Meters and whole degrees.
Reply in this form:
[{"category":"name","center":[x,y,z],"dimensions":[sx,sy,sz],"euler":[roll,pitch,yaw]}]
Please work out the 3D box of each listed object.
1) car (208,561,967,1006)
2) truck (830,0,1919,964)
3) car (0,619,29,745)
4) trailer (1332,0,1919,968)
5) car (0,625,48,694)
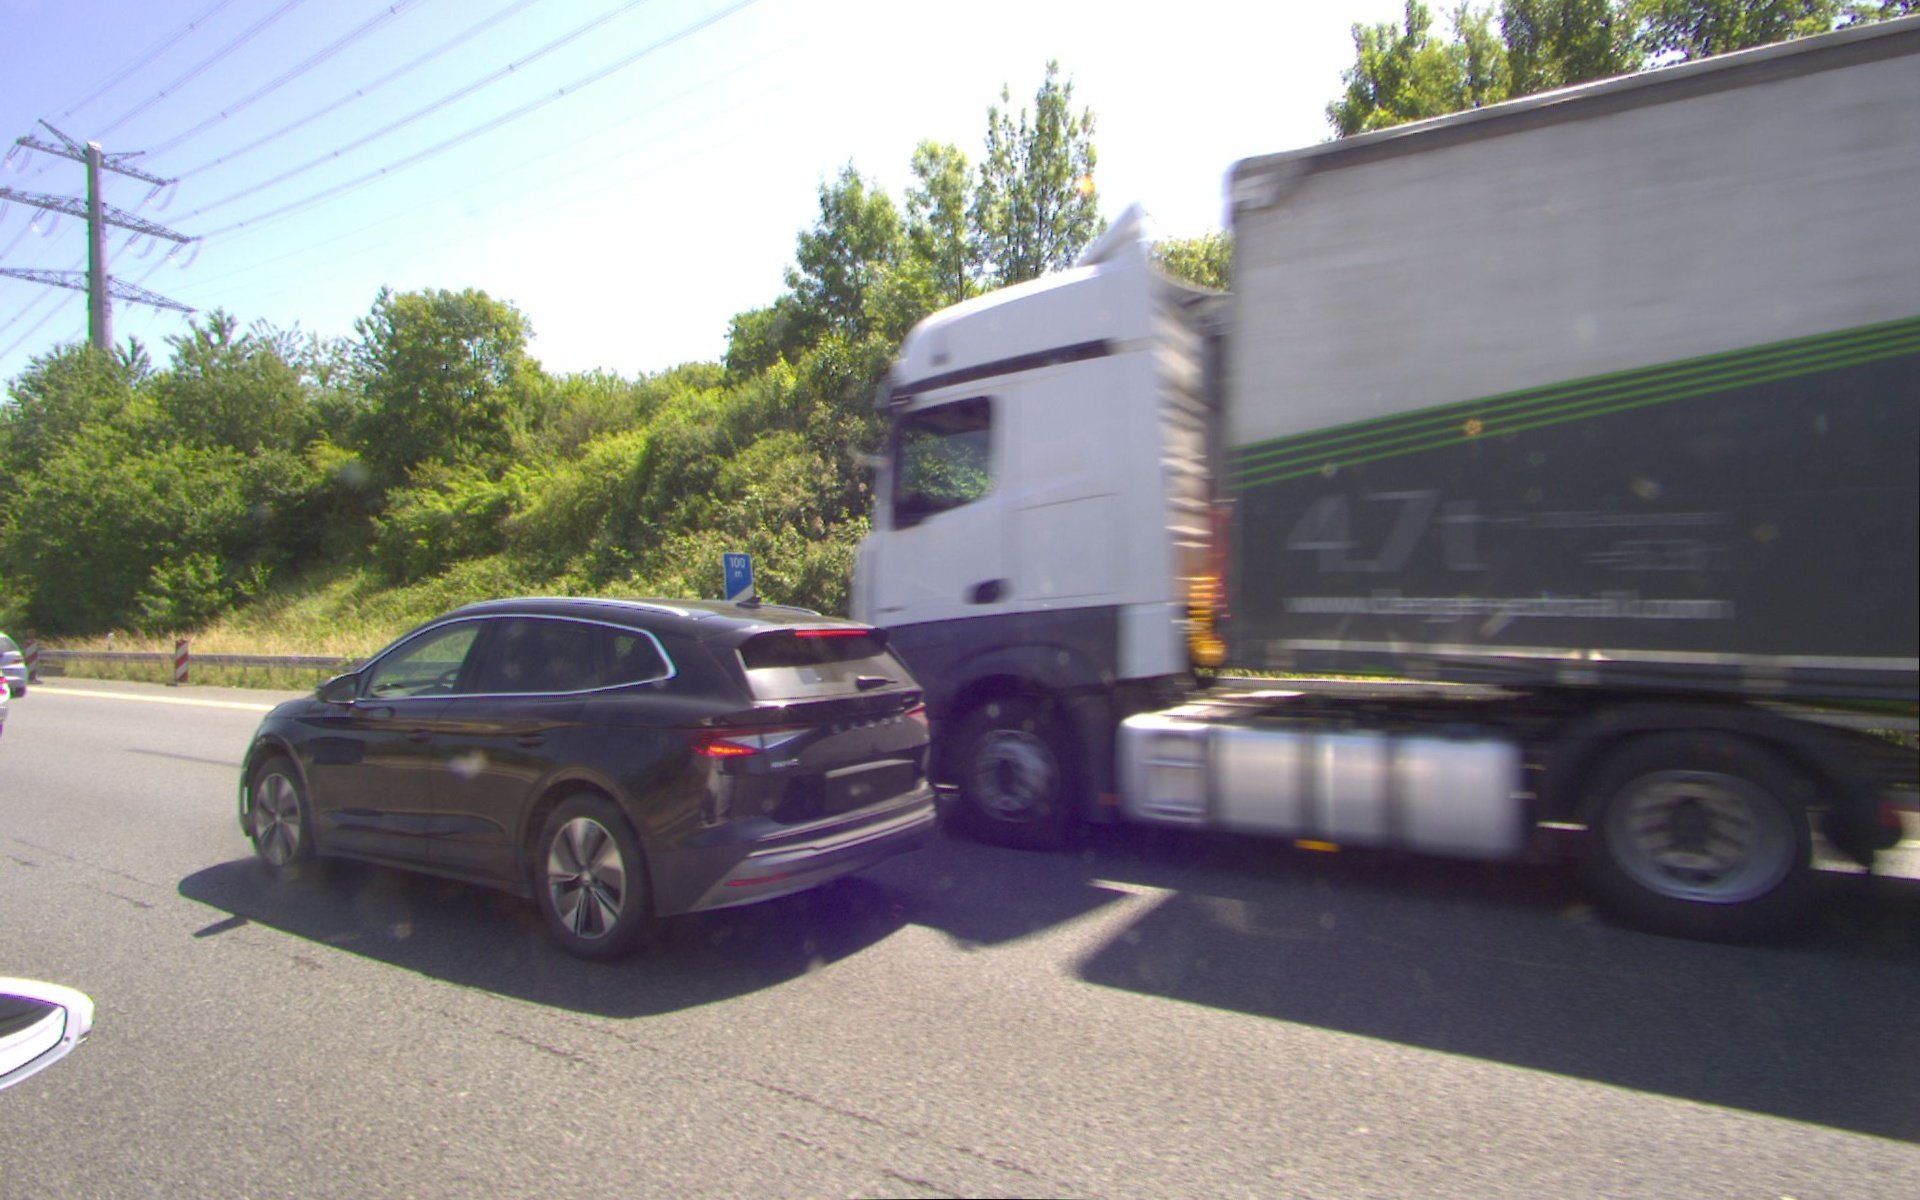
[{"category":"car","center":[-2.257,0.759,5.654],"dimensions":[4.365,1.676,1.698],"euler":[-1,-2,31]},{"category":"truck","center":[2.213,-0.511,6.630],"dimensions":[5.711,4.099,2.728],"euler":[-1,-2,32]},{"category":"car","center":[-13.914,1.027,12.872],"dimensions":[4.297,1.537,1.768],"euler":[-1,-2,32]},{"category":"trailer","center":[8.100,-0.645,2.854],"dimensions":[12.926,4.099,2.778],"euler":[-1,-2,33]},{"category":"car","center":[-21.895,1.296,22.104],"dimensions":[3.734,1.466,1.698],"euler":[-1,-2,32]}]
